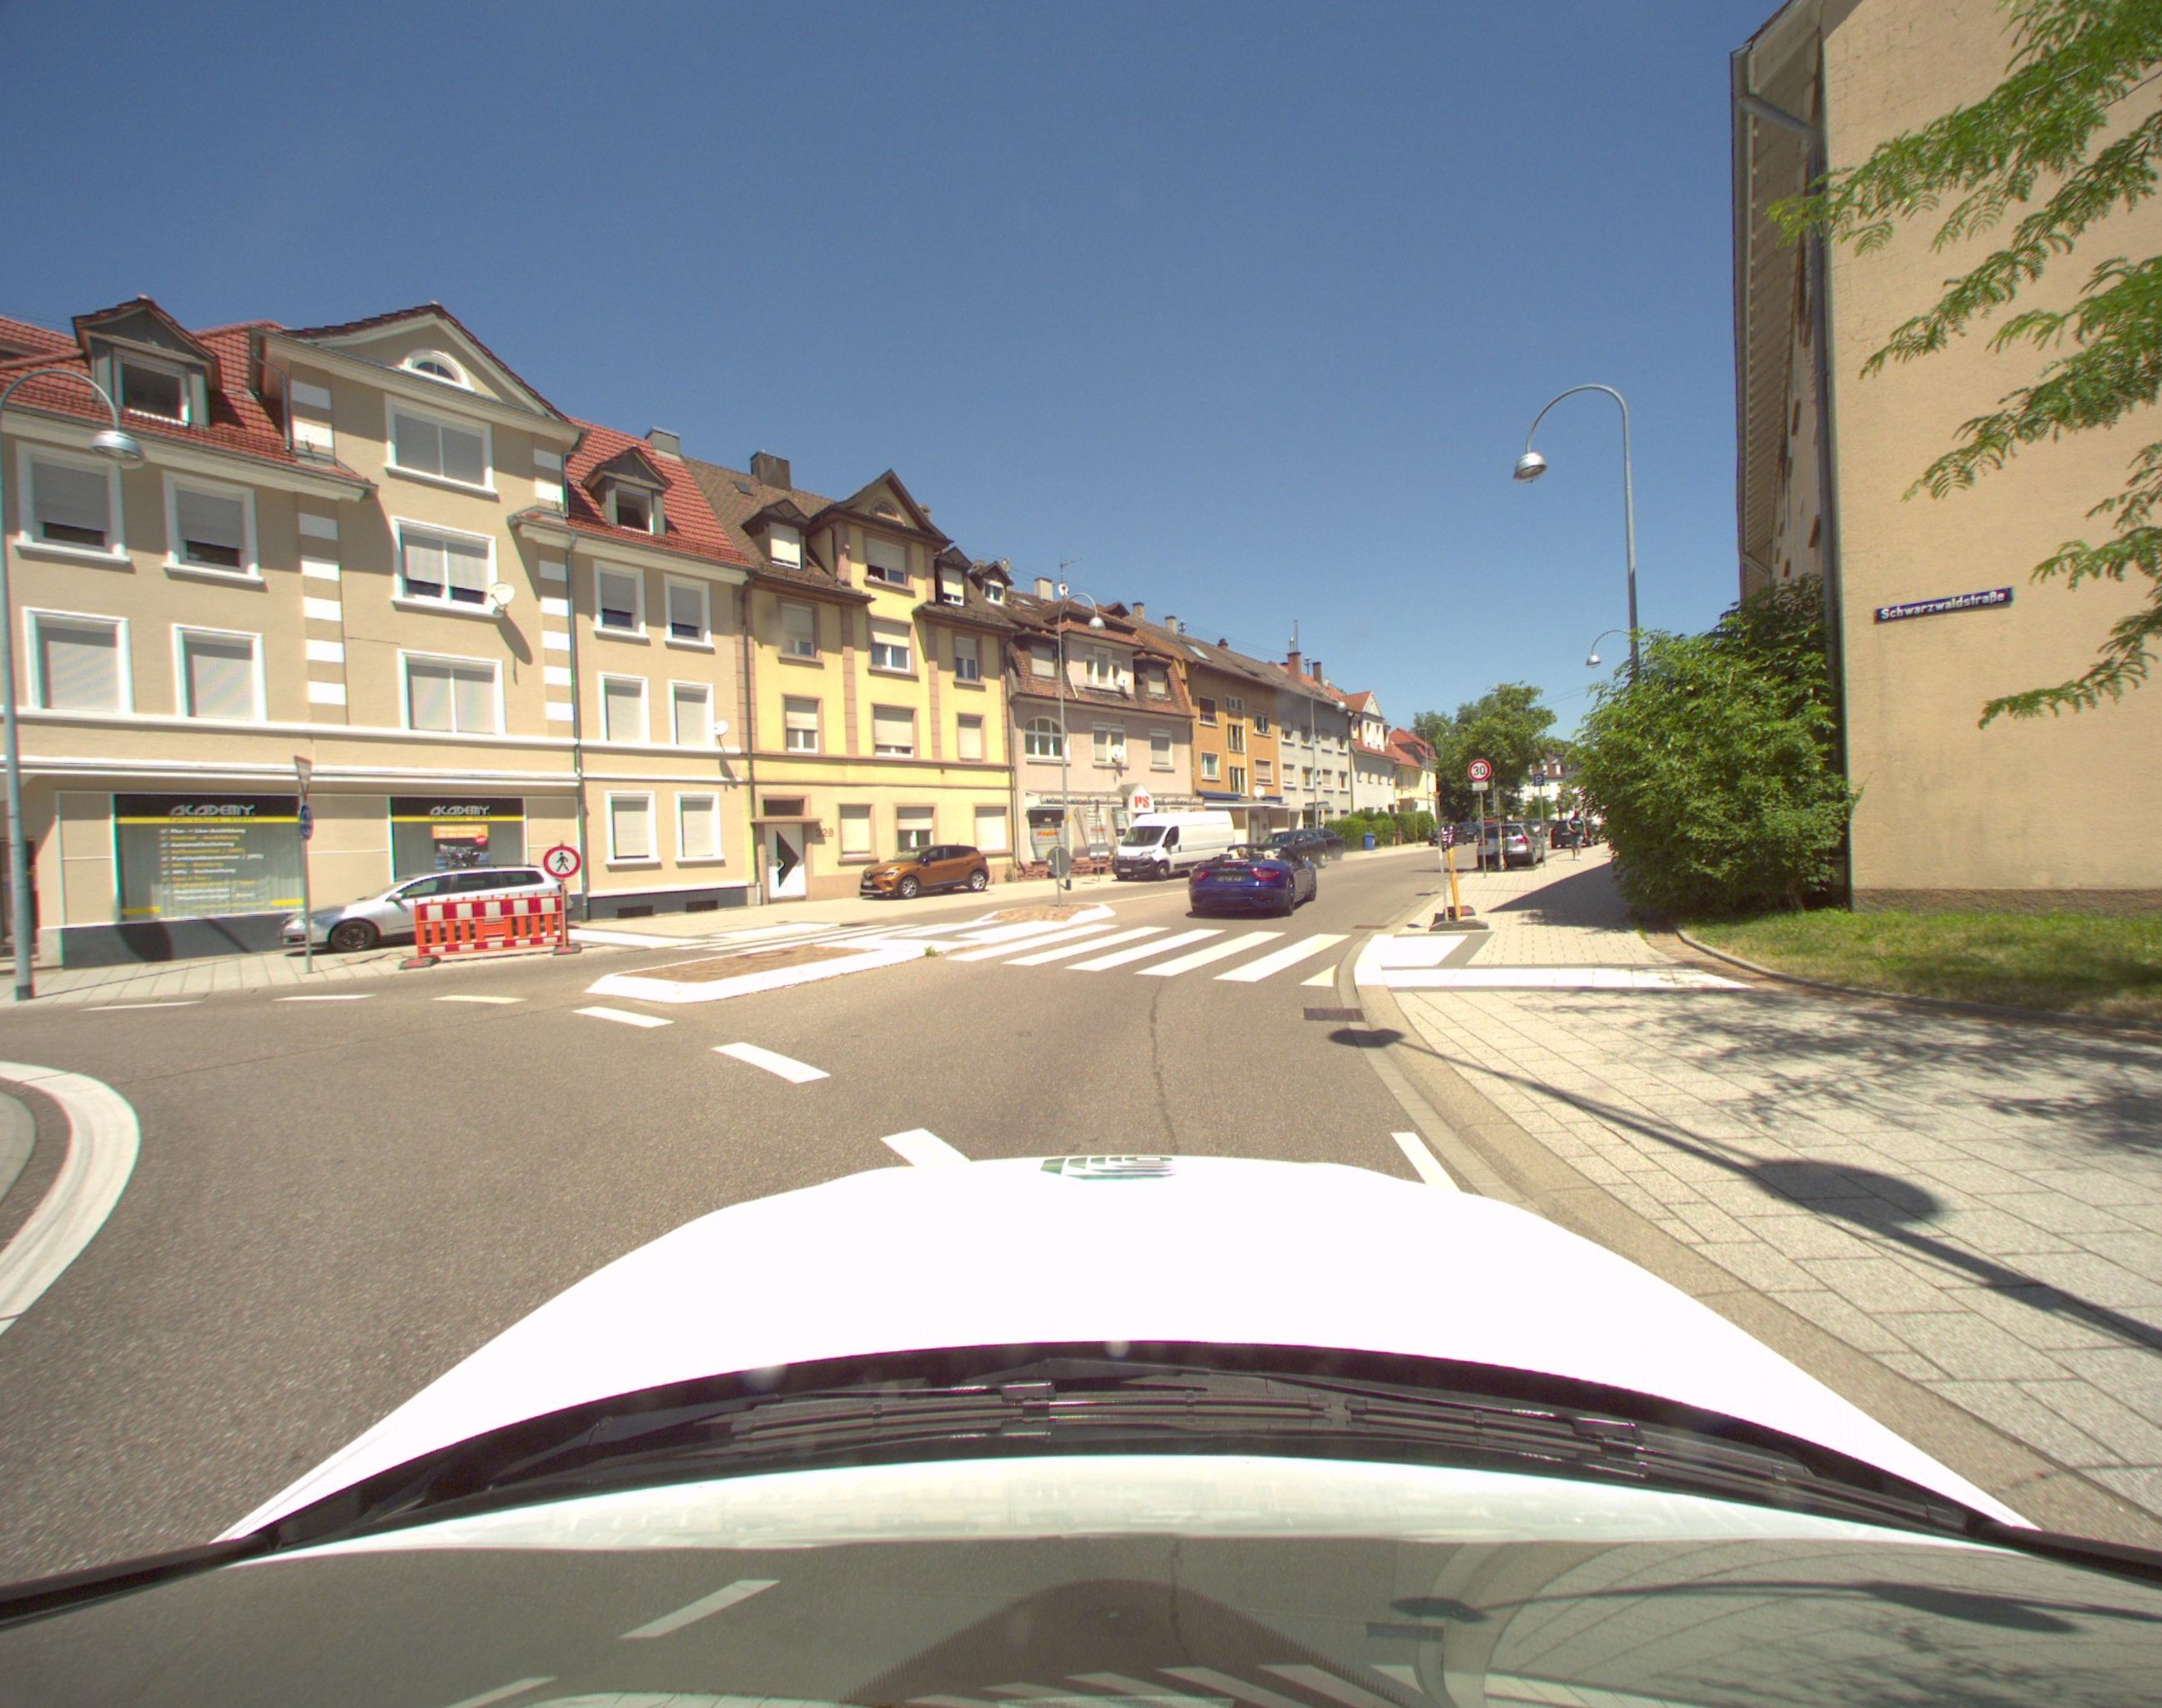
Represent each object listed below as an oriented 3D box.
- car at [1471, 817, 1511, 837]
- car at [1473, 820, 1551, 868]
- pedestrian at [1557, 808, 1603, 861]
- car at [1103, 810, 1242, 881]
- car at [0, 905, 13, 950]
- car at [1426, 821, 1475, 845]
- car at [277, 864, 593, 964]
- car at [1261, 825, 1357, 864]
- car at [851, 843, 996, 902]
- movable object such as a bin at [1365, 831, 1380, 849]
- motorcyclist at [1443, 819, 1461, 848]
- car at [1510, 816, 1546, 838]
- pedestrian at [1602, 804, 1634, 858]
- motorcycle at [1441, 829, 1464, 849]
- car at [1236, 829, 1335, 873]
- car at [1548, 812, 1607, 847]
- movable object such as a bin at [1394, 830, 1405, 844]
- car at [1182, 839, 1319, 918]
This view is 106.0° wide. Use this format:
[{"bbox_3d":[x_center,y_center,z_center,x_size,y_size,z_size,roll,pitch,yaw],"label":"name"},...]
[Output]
[{"bbox_3d":[32.664,-2.170,64.840,1.860,1.479,4.768,1,4,39],"label":"car"},{"bbox_3d":[15.152,-0.394,28.519,1.795,1.476,4.536,-4,0,35],"label":"car"},{"bbox_3d":[17.393,-0.672,28.377,1.159,1.733,1.199,-6,-2,34],"label":"pedestrian"},{"bbox_3d":[3.699,-0.437,31.662,2.099,2.449,6.156,0,3,42],"label":"car"},{"bbox_3d":[-42.020,2.838,29.185,1.974,1.625,4.308,-3,0,42],"label":"car"},{"bbox_3d":[25.012,-1.455,55.004,1.771,1.458,4.224,2,4,43],"label":"car"},{"bbox_3d":[-13.428,1.125,17.230,1.778,1.502,4.977,-1,2,44],"label":"car"},{"bbox_3d":[11.247,-0.488,39.984,5.137,1.614,2.067,-4,3,-42],"label":"car"},{"bbox_3d":[-4.854,0.510,25.521,1.778,1.541,4.141,-1,3,43],"label":"car"},{"bbox_3d":[18.112,-0.890,50.618,0.666,1.047,0.656,-3,1,39],"label":"movable object such as a bin"},{"bbox_3d":[20.565,-1.133,45.113,0.595,1.524,0.901,-3,1,41],"label":"motorcyclist"},{"bbox_3d":[33.979,-2.049,61.849,1.714,1.411,4.026,-5,0,37],"label":"car"},{"bbox_3d":[18.971,-0.808,28.778,0.780,1.811,1.013,-5,-1,35],"label":"pedestrian"},{"bbox_3d":[20.579,-0.835,45.126,0.600,1.000,1.811,-3,1,42],"label":"motorcycle"},{"bbox_3d":[8.003,-0.162,31.591,1.778,1.489,4.418,-3,0,43],"label":"car"},{"bbox_3d":[25.480,-1.265,41.700,1.816,1.504,5.097,-5,0,39],"label":"car"},{"bbox_3d":[22.124,-1.204,56.539,0.489,0.911,0.710,-3,1,39],"label":"movable object such as a bin"},{"bbox_3d":[3.611,0.409,16.631,1.854,1.342,4.622,-1,1,23],"label":"car"}]
